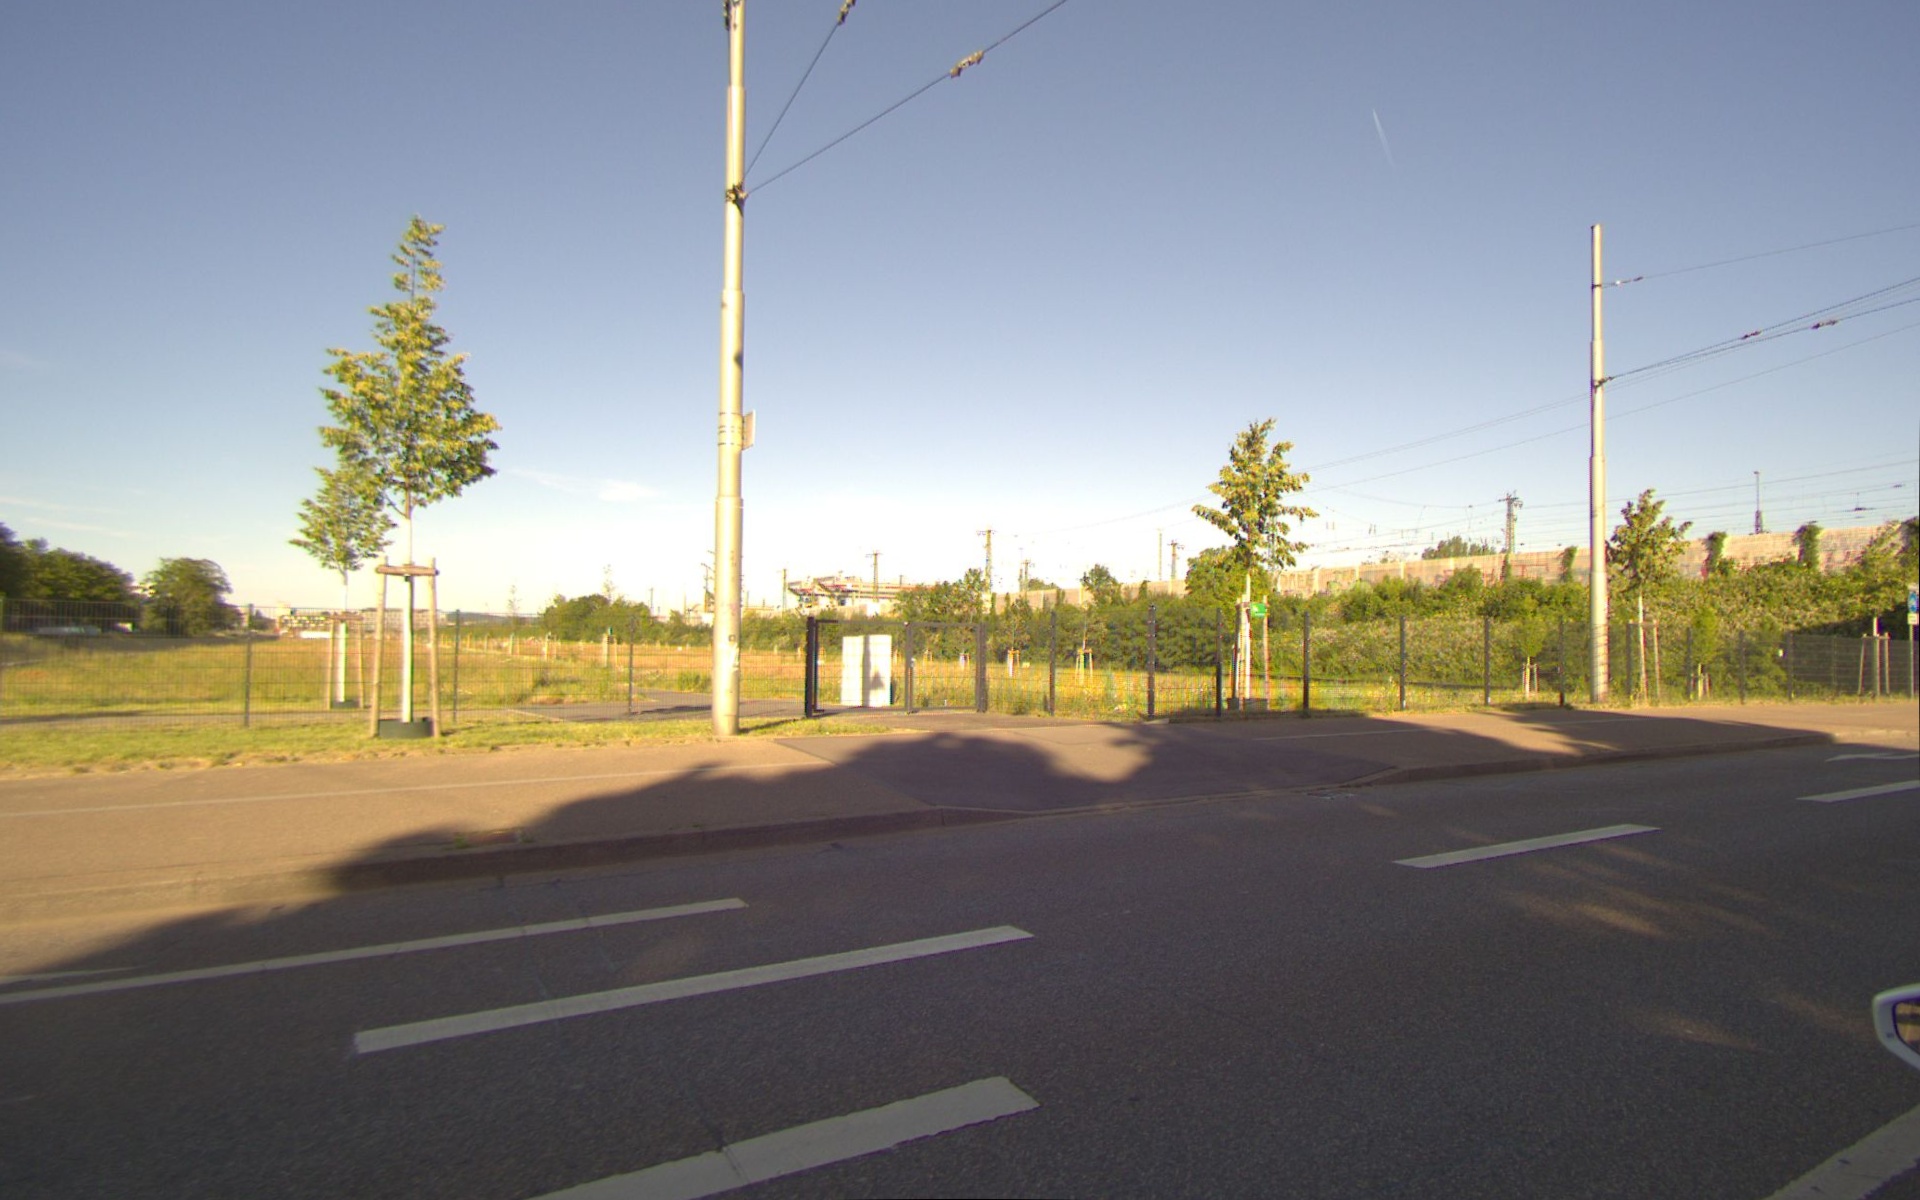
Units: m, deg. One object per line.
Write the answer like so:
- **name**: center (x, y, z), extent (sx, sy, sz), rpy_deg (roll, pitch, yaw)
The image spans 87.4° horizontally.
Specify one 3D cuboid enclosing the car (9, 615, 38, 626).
- **car**: center (-127.873, 2.801, 137.215), extent (1.918, 1.513, 4.178), rpy_deg (0, -2, -28)
